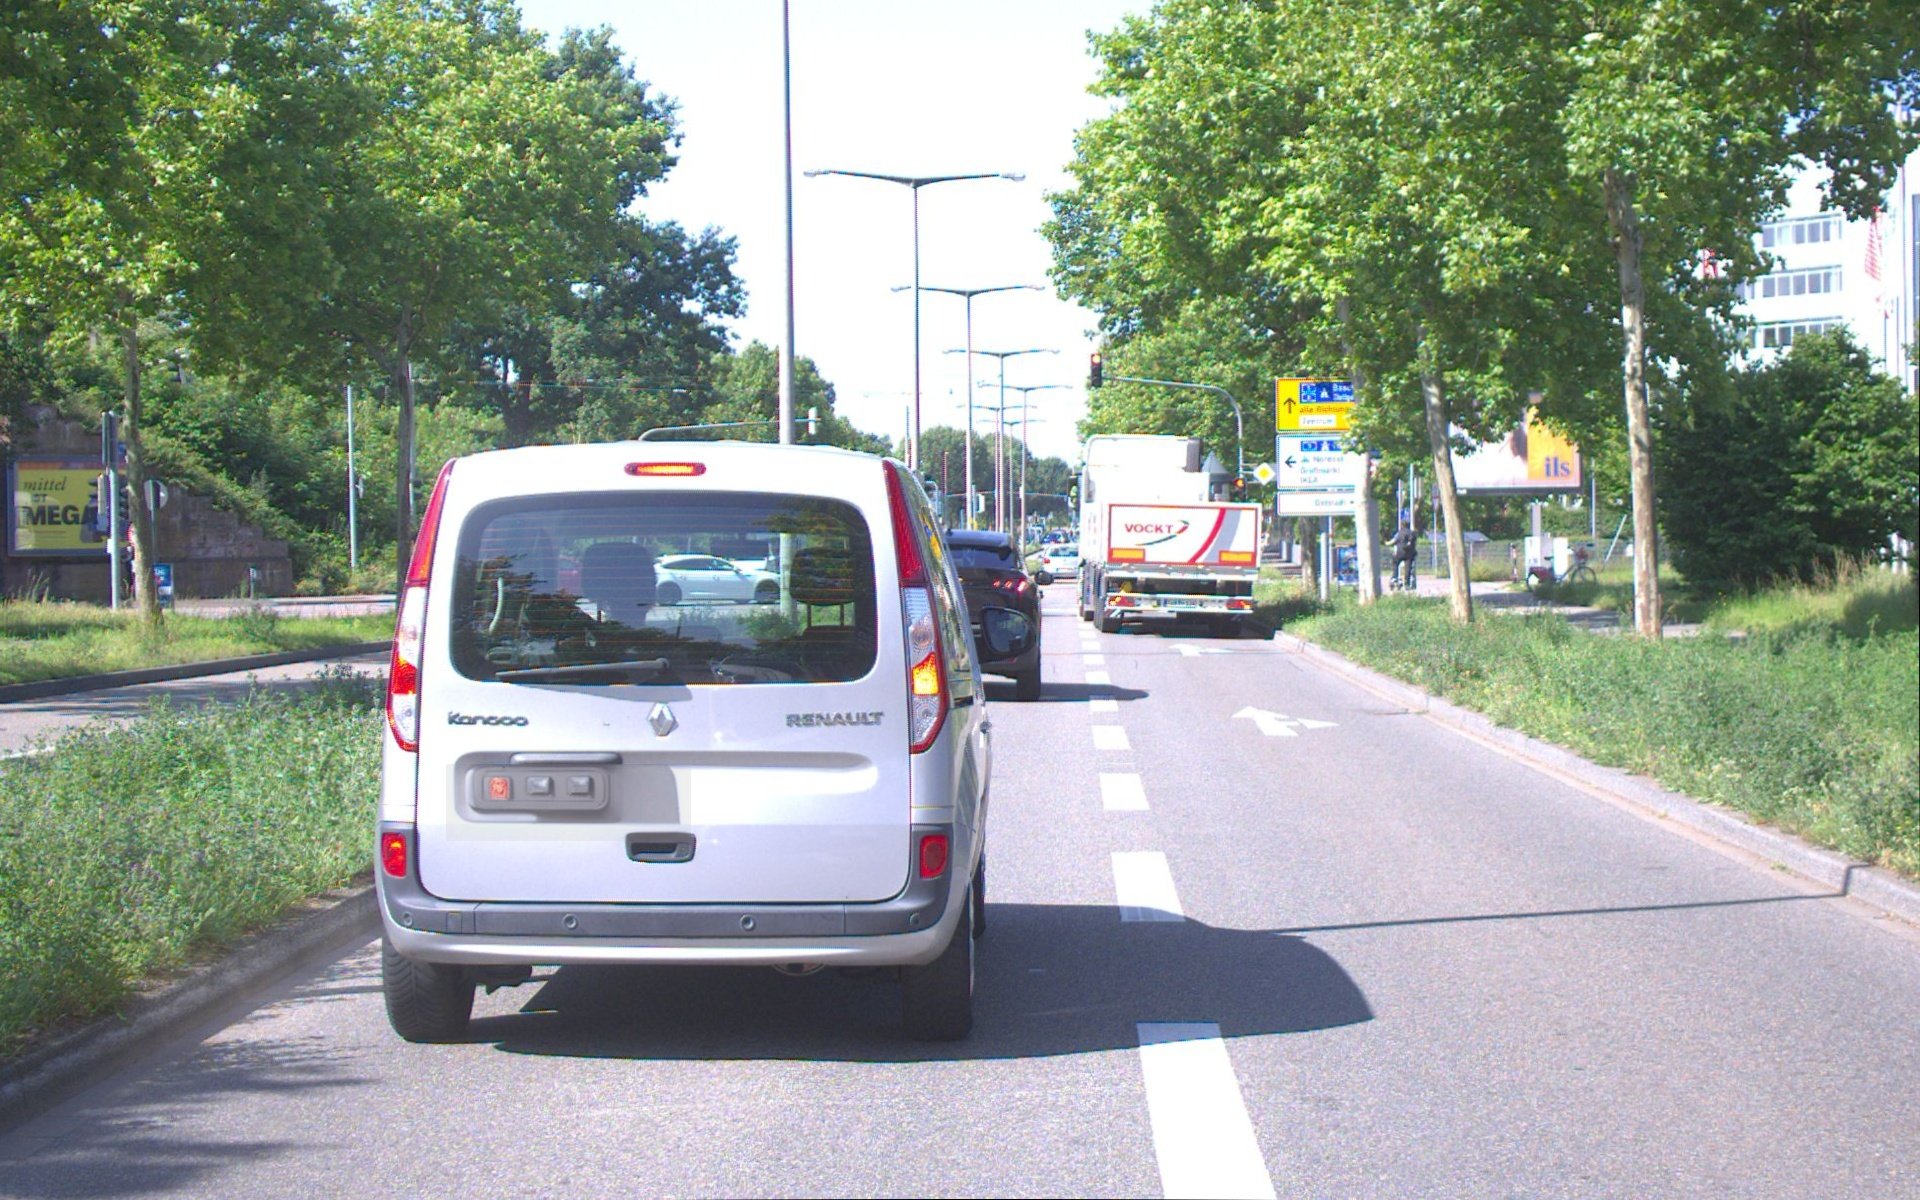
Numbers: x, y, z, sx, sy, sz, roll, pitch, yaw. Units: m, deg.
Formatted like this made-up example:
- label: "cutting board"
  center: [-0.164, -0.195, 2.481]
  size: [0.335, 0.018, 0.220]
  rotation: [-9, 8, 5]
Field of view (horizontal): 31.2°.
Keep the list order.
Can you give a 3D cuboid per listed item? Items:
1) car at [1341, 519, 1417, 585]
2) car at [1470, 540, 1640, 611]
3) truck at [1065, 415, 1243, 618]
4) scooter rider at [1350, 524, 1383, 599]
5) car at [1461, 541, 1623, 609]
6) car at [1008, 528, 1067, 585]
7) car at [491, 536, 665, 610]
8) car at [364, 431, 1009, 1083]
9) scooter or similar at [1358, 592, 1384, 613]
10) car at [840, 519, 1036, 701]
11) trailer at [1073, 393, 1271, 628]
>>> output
- label: "car"
  center: [11.690, -1.335, 96.087]
  size: [1.816, 1.789, 3.443]
  rotation: [1, 1, 3]
- label: "car"
  center: [14.584, -0.602, 84.404]
  size: [3.988, 1.656, 1.722]
  rotation: [1, 1, 7]
- label: "truck"
  center: [3.736, -1.597, 67.982]
  size: [3.071, 3.745, 7.476]
  rotation: [1, 1, 0]
- label: "scooter rider"
  center: [7.358, -0.701, 62.265]
  size: [0.497, 1.333, 0.563]
  rotation: [1, 0, -1]
- label: "car"
  center: [14.878, -0.636, 88.051]
  size: [3.988, 1.656, 1.722]
  rotation: [1, 1, 7]
- label: "car"
  center: [2.784, -1.566, 124.118]
  size: [1.713, 2.007, 4.001]
  rotation: [1, 1, -4]
- label: "car"
  center: [-9.869, -0.697, 88.857]
  size: [3.986, 1.853, 2.000]
  rotation: [1, 1, -28]
- label: "car"
  center: [-0.730, 0.410, 11.454]
  size: [1.749, 1.766, 3.949]
  rotation: [1, 1, 1]
- label: "scooter or similar"
  center: [7.441, 0.043, 62.276]
  size: [0.378, 0.356, 0.556]
  rotation: [1, 1, -1]
- label: "car"
  center: [-0.242, 0.069, 34.302]
  size: [1.809, 1.678, 4.000]
  rotation: [1, 1, -1]
- label: "trailer"
  center: [3.603, -1.504, 61.380]
  size: [3.016, 3.728, 12.239]
  rotation: [1, 1, 1]
